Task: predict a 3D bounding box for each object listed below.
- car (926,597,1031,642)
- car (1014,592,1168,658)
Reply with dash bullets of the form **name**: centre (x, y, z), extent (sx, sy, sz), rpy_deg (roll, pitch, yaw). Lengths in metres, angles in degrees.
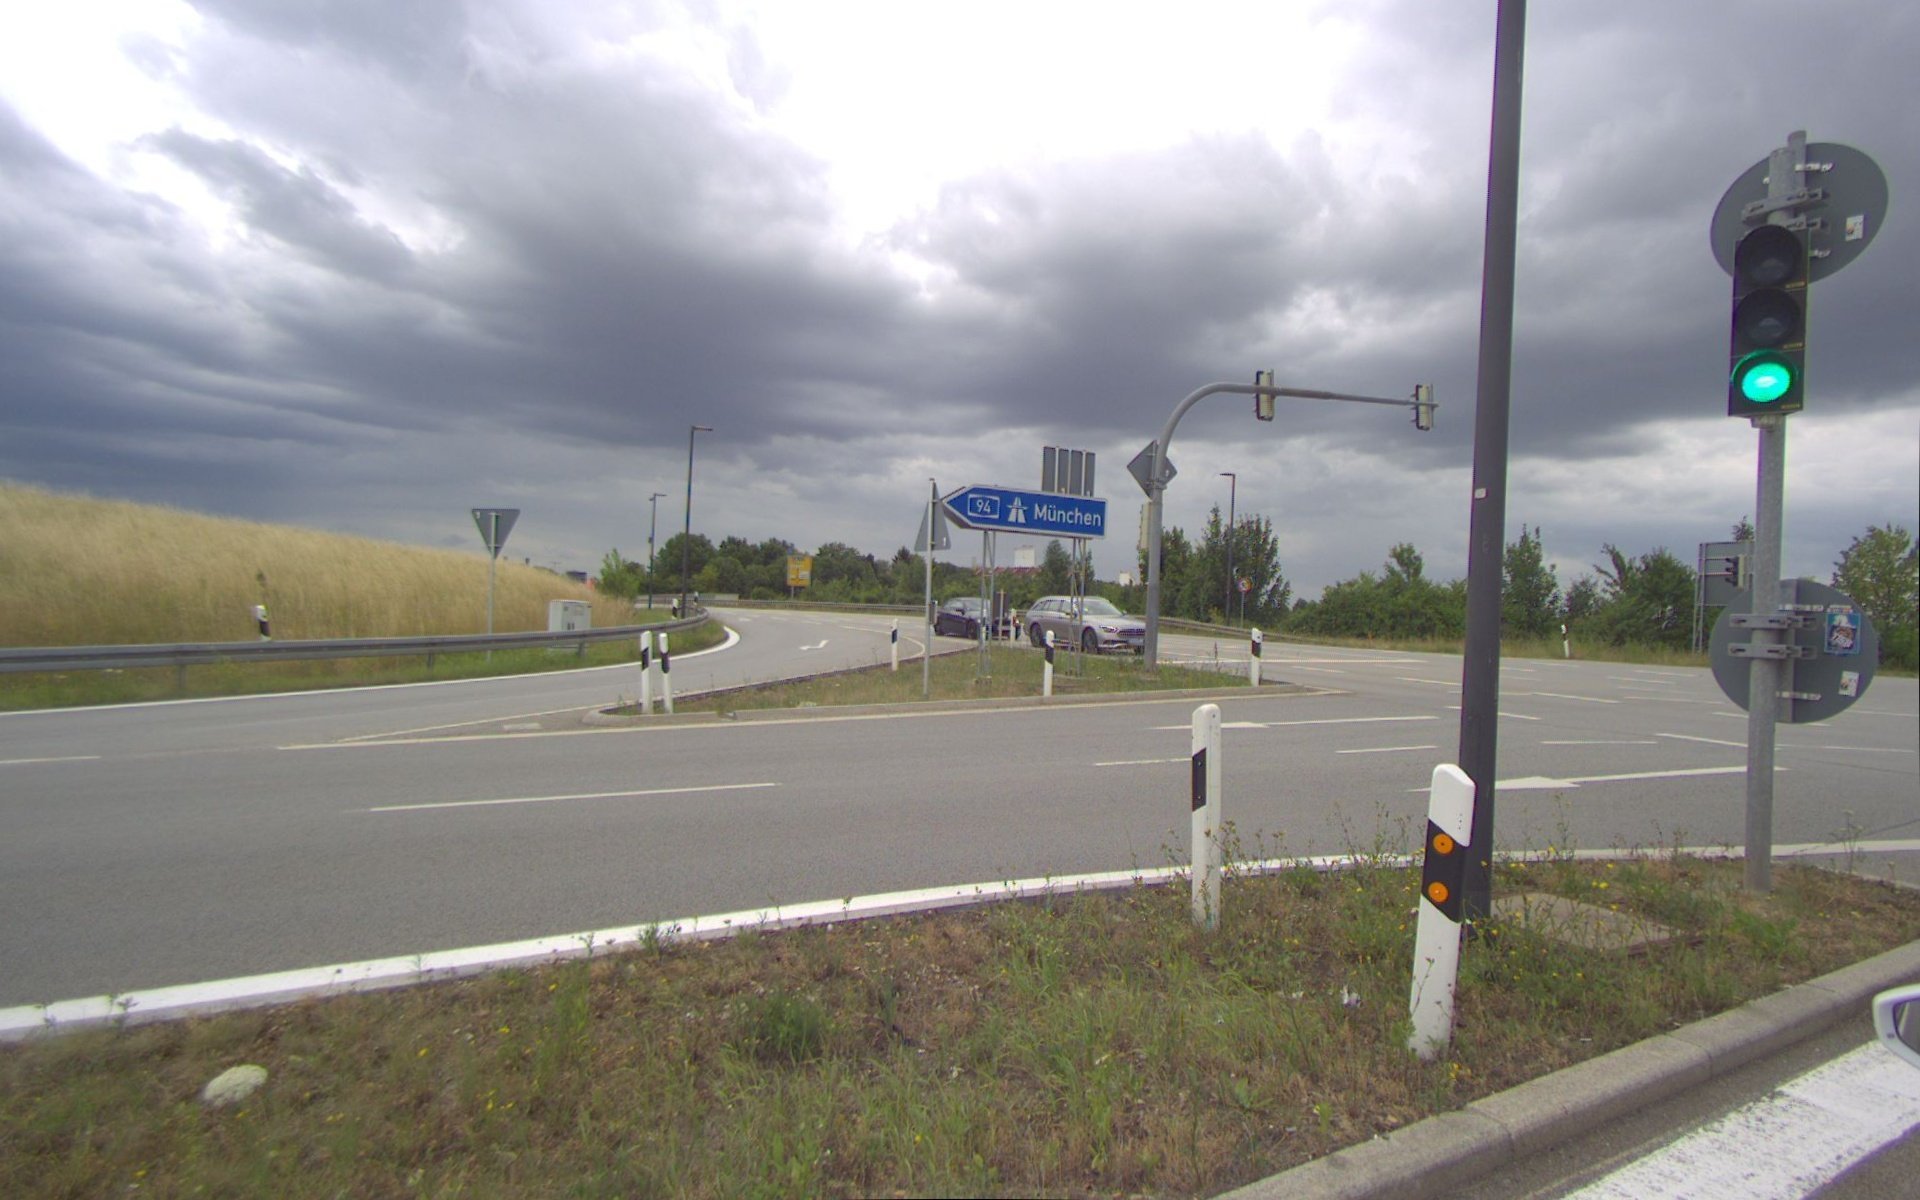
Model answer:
- **car**: centre (0.557, 0.632, 34.683), extent (1.690, 1.429, 4.643), rpy_deg (2, -1, -26)
- **car**: centre (3.533, 0.614, 28.200), extent (1.895, 1.632, 4.915), rpy_deg (0, 1, -26)
